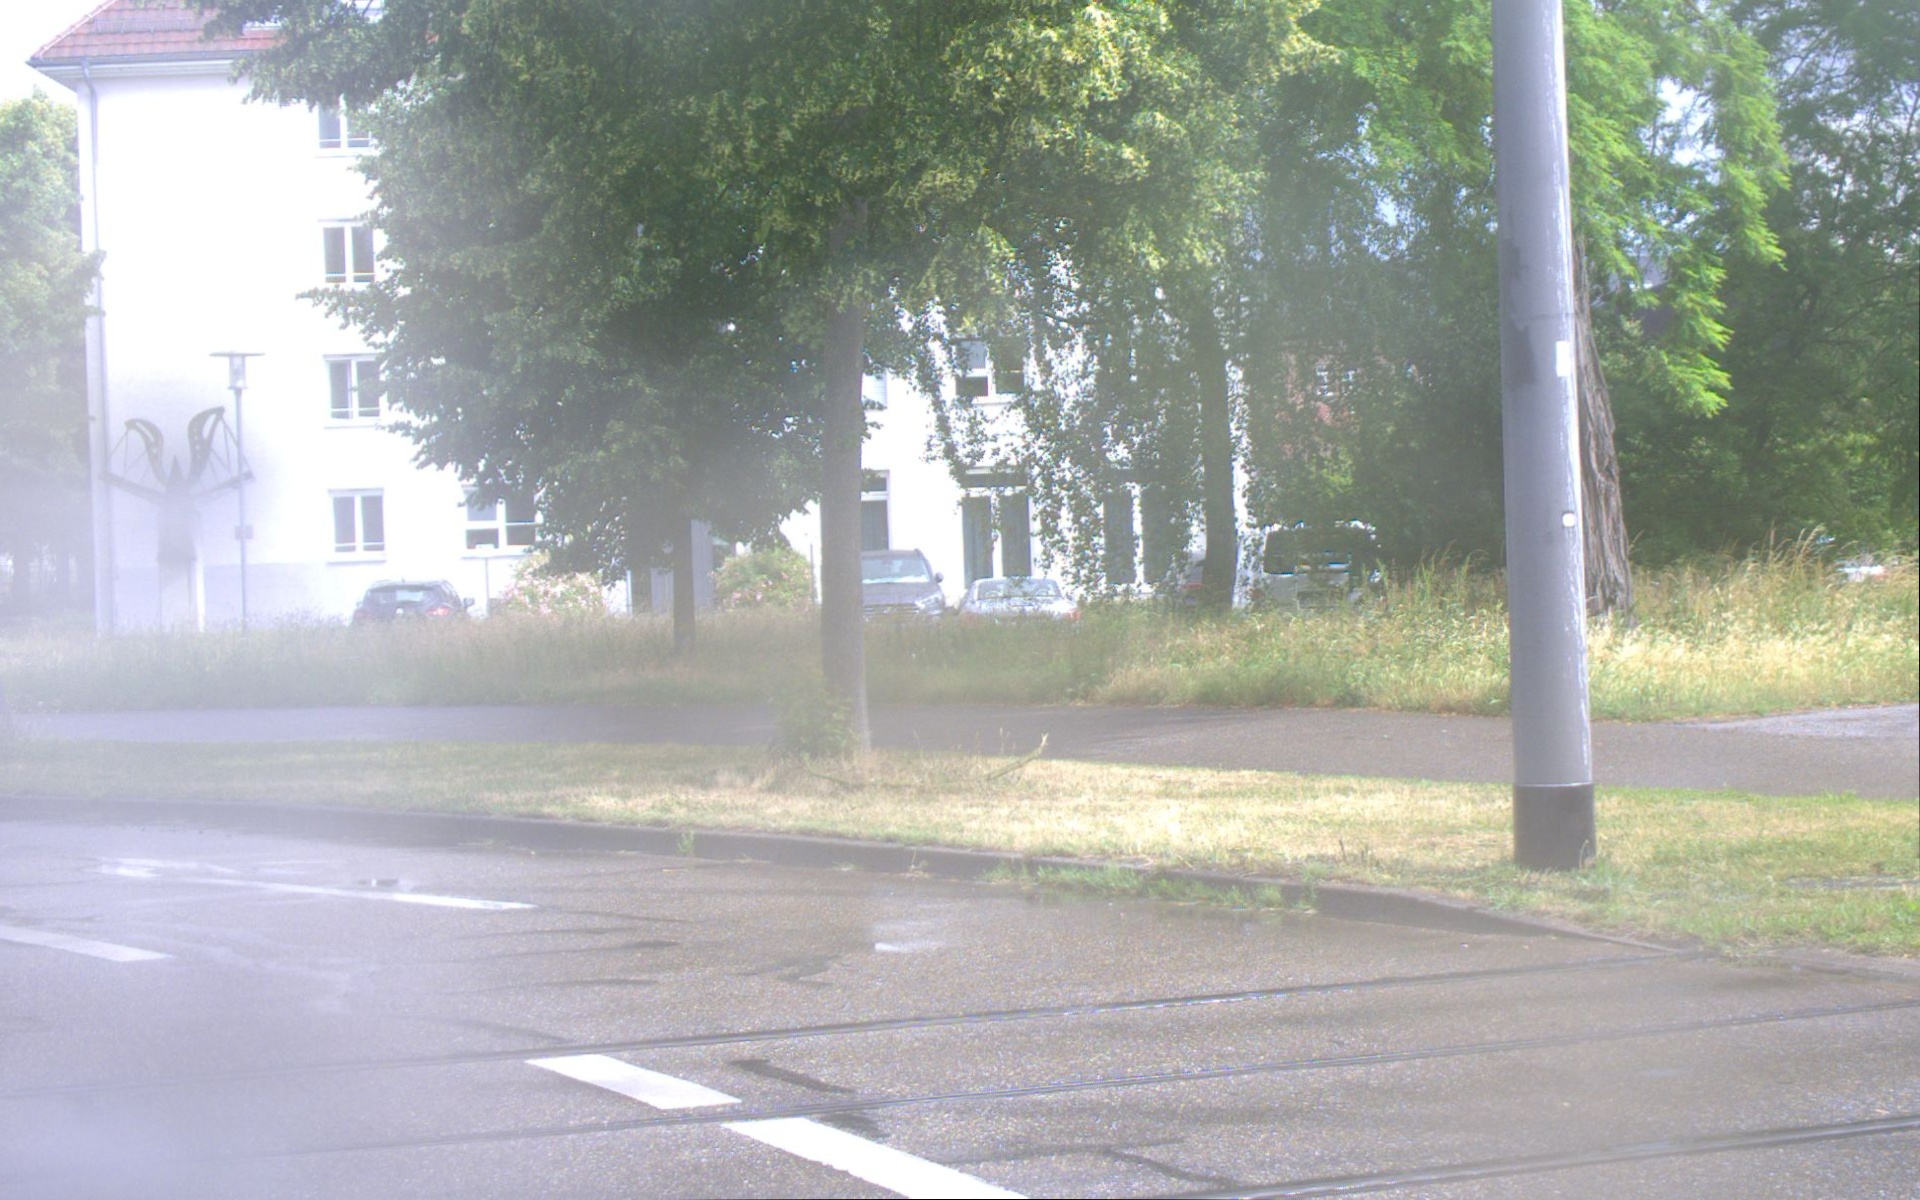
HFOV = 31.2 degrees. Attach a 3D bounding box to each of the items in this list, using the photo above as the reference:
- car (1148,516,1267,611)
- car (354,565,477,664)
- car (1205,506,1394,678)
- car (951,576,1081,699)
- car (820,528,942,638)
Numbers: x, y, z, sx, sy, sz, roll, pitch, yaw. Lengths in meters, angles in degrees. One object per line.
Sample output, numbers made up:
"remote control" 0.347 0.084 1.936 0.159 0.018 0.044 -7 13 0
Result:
"car" 4.096 -0.628 57.224 1.658 1.341 3.582 -2 3 0
"car" -8.922 0.205 56.583 1.670 1.477 3.740 -2 1 -5
"car" 4.456 -0.167 45.801 2.106 2.050 5.161 -3 2 2
"car" 0.752 0.468 45.556 1.603 1.505 3.621 -2 1 1
"car" -1.337 -0.315 56.820 1.846 1.546 4.107 -2 3 -3
